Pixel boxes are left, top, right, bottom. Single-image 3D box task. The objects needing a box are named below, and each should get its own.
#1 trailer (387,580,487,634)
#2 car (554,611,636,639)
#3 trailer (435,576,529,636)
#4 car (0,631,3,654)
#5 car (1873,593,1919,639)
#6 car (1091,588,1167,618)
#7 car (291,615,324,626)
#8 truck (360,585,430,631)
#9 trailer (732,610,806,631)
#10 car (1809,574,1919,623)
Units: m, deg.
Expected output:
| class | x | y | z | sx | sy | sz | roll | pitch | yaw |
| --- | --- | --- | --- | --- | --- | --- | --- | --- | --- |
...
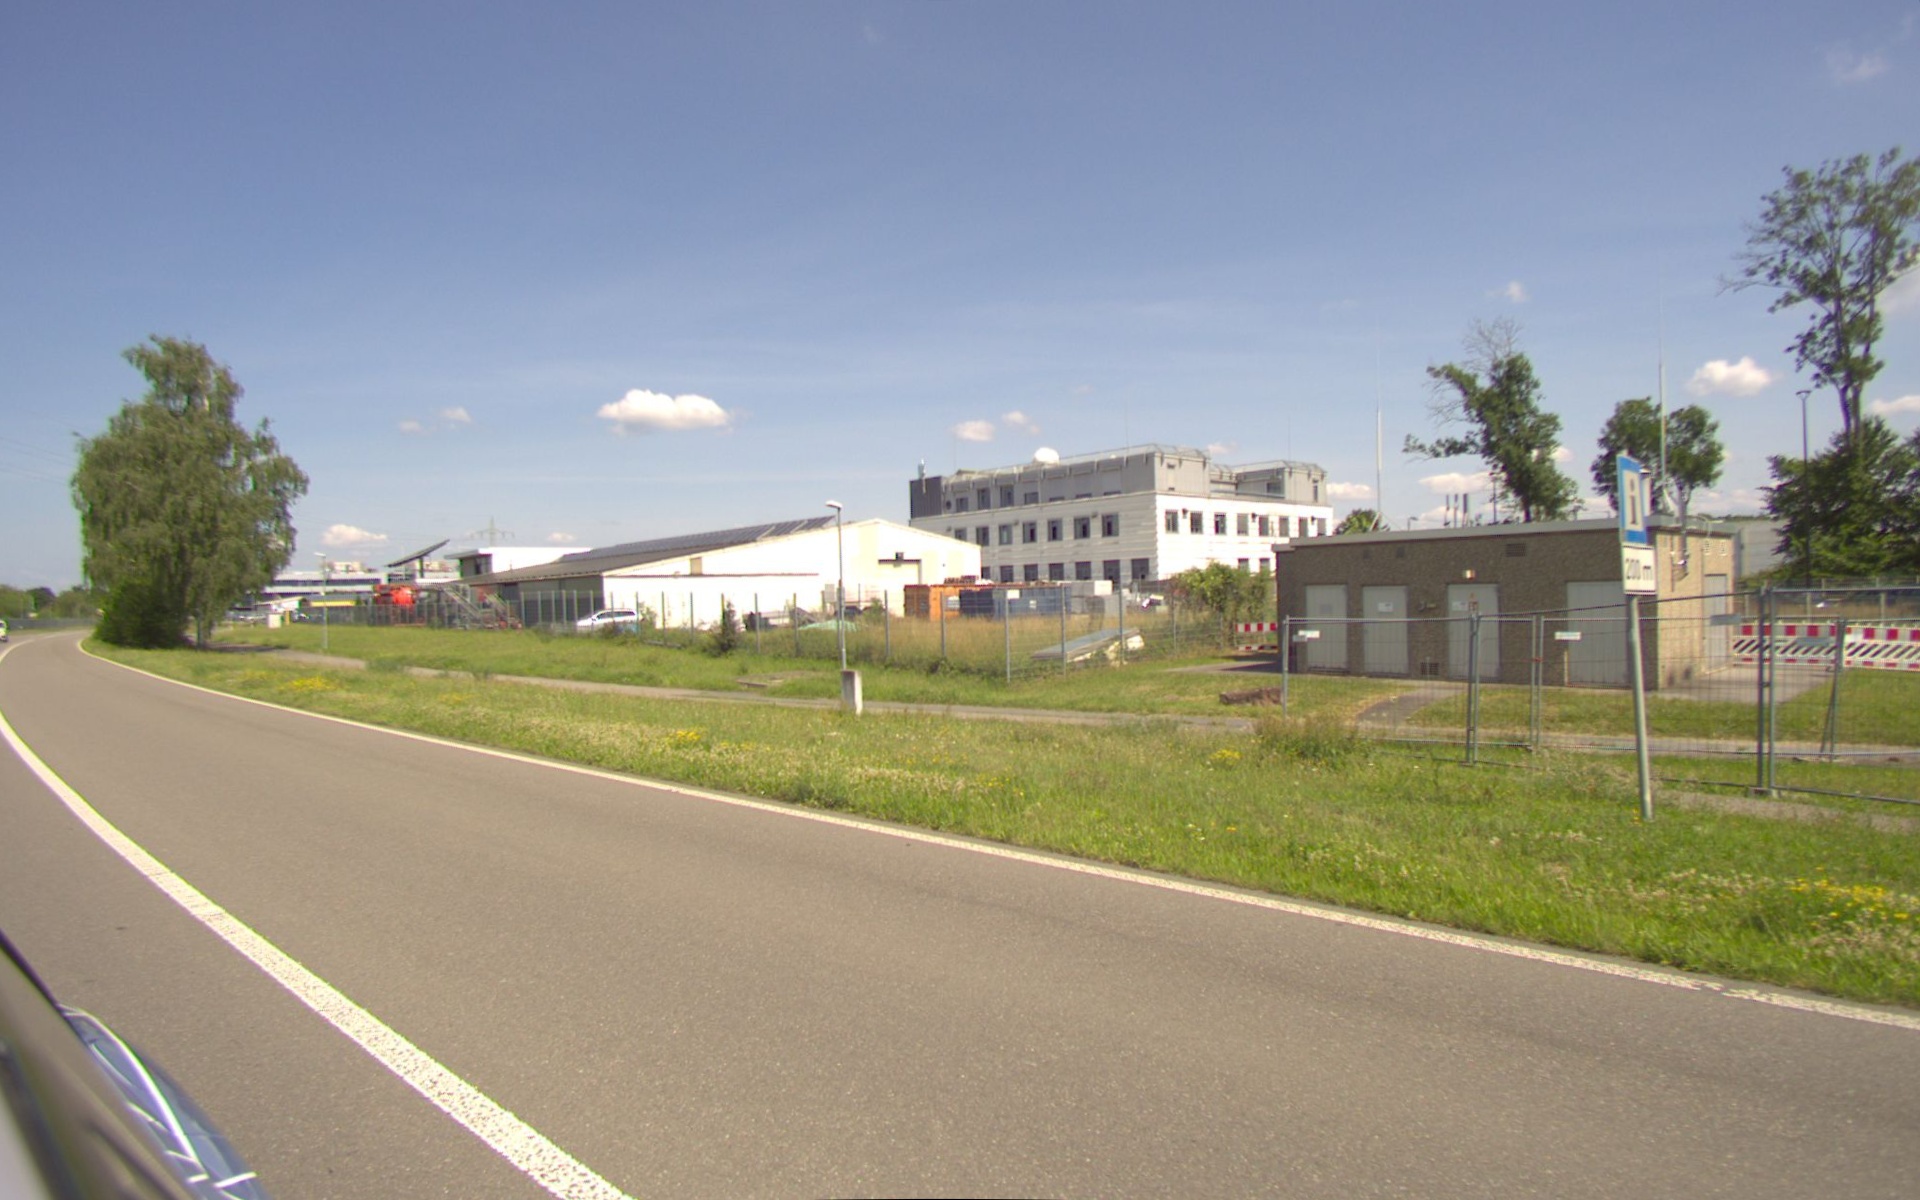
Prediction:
| class | x | y | z | sx | sy | sz | roll | pitch | yaw |
| --- | --- | --- | --- | --- | --- | --- | --- | --- | --- |
| trailer | -39.060 | 0.541 | 75.117 | 3.250 | 3.672 | 14.947 | 0 | -1 | -41 |
| car | -20.227 | 1.367 | 56.153 | 3.938 | 1.353 | 1.750 | -2 | 0 | -41 |
| trailer | -31.360 | 0.412 | 66.188 | 3.357 | 3.672 | 8.671 | 0 | -1 | -41 |
| car | -79.348 | 3.446 | 82.480 | 1.809 | 1.820 | 4.836 | 0 | -1 | -41 |
| car | 33.642 | 0.542 | 34.331 | 1.976 | 1.565 | 3.991 | -1 | 0 | 7 |
| car | 12.416 | 0.235 | 74.598 | 1.721 | 2.026 | 5.532 | -2 | 0 | -44 |
| car | -101.356 | 3.183 | 157.206 | 4.160 | 1.613 | 1.873 | 0 | -1 | -43 |
| truck | -47.417 | 0.681 | 84.761 | 3.063 | 3.672 | 10.610 | 0 | -1 | -41 |
| trailer | -11.397 | 1.211 | 60.627 | 3.938 | 1.175 | 1.907 | -1 | 0 | -42 |
| car | 39.306 | -0.051 | 43.683 | 1.973 | 2.029 | 3.997 | -1 | 0 | 3 |
